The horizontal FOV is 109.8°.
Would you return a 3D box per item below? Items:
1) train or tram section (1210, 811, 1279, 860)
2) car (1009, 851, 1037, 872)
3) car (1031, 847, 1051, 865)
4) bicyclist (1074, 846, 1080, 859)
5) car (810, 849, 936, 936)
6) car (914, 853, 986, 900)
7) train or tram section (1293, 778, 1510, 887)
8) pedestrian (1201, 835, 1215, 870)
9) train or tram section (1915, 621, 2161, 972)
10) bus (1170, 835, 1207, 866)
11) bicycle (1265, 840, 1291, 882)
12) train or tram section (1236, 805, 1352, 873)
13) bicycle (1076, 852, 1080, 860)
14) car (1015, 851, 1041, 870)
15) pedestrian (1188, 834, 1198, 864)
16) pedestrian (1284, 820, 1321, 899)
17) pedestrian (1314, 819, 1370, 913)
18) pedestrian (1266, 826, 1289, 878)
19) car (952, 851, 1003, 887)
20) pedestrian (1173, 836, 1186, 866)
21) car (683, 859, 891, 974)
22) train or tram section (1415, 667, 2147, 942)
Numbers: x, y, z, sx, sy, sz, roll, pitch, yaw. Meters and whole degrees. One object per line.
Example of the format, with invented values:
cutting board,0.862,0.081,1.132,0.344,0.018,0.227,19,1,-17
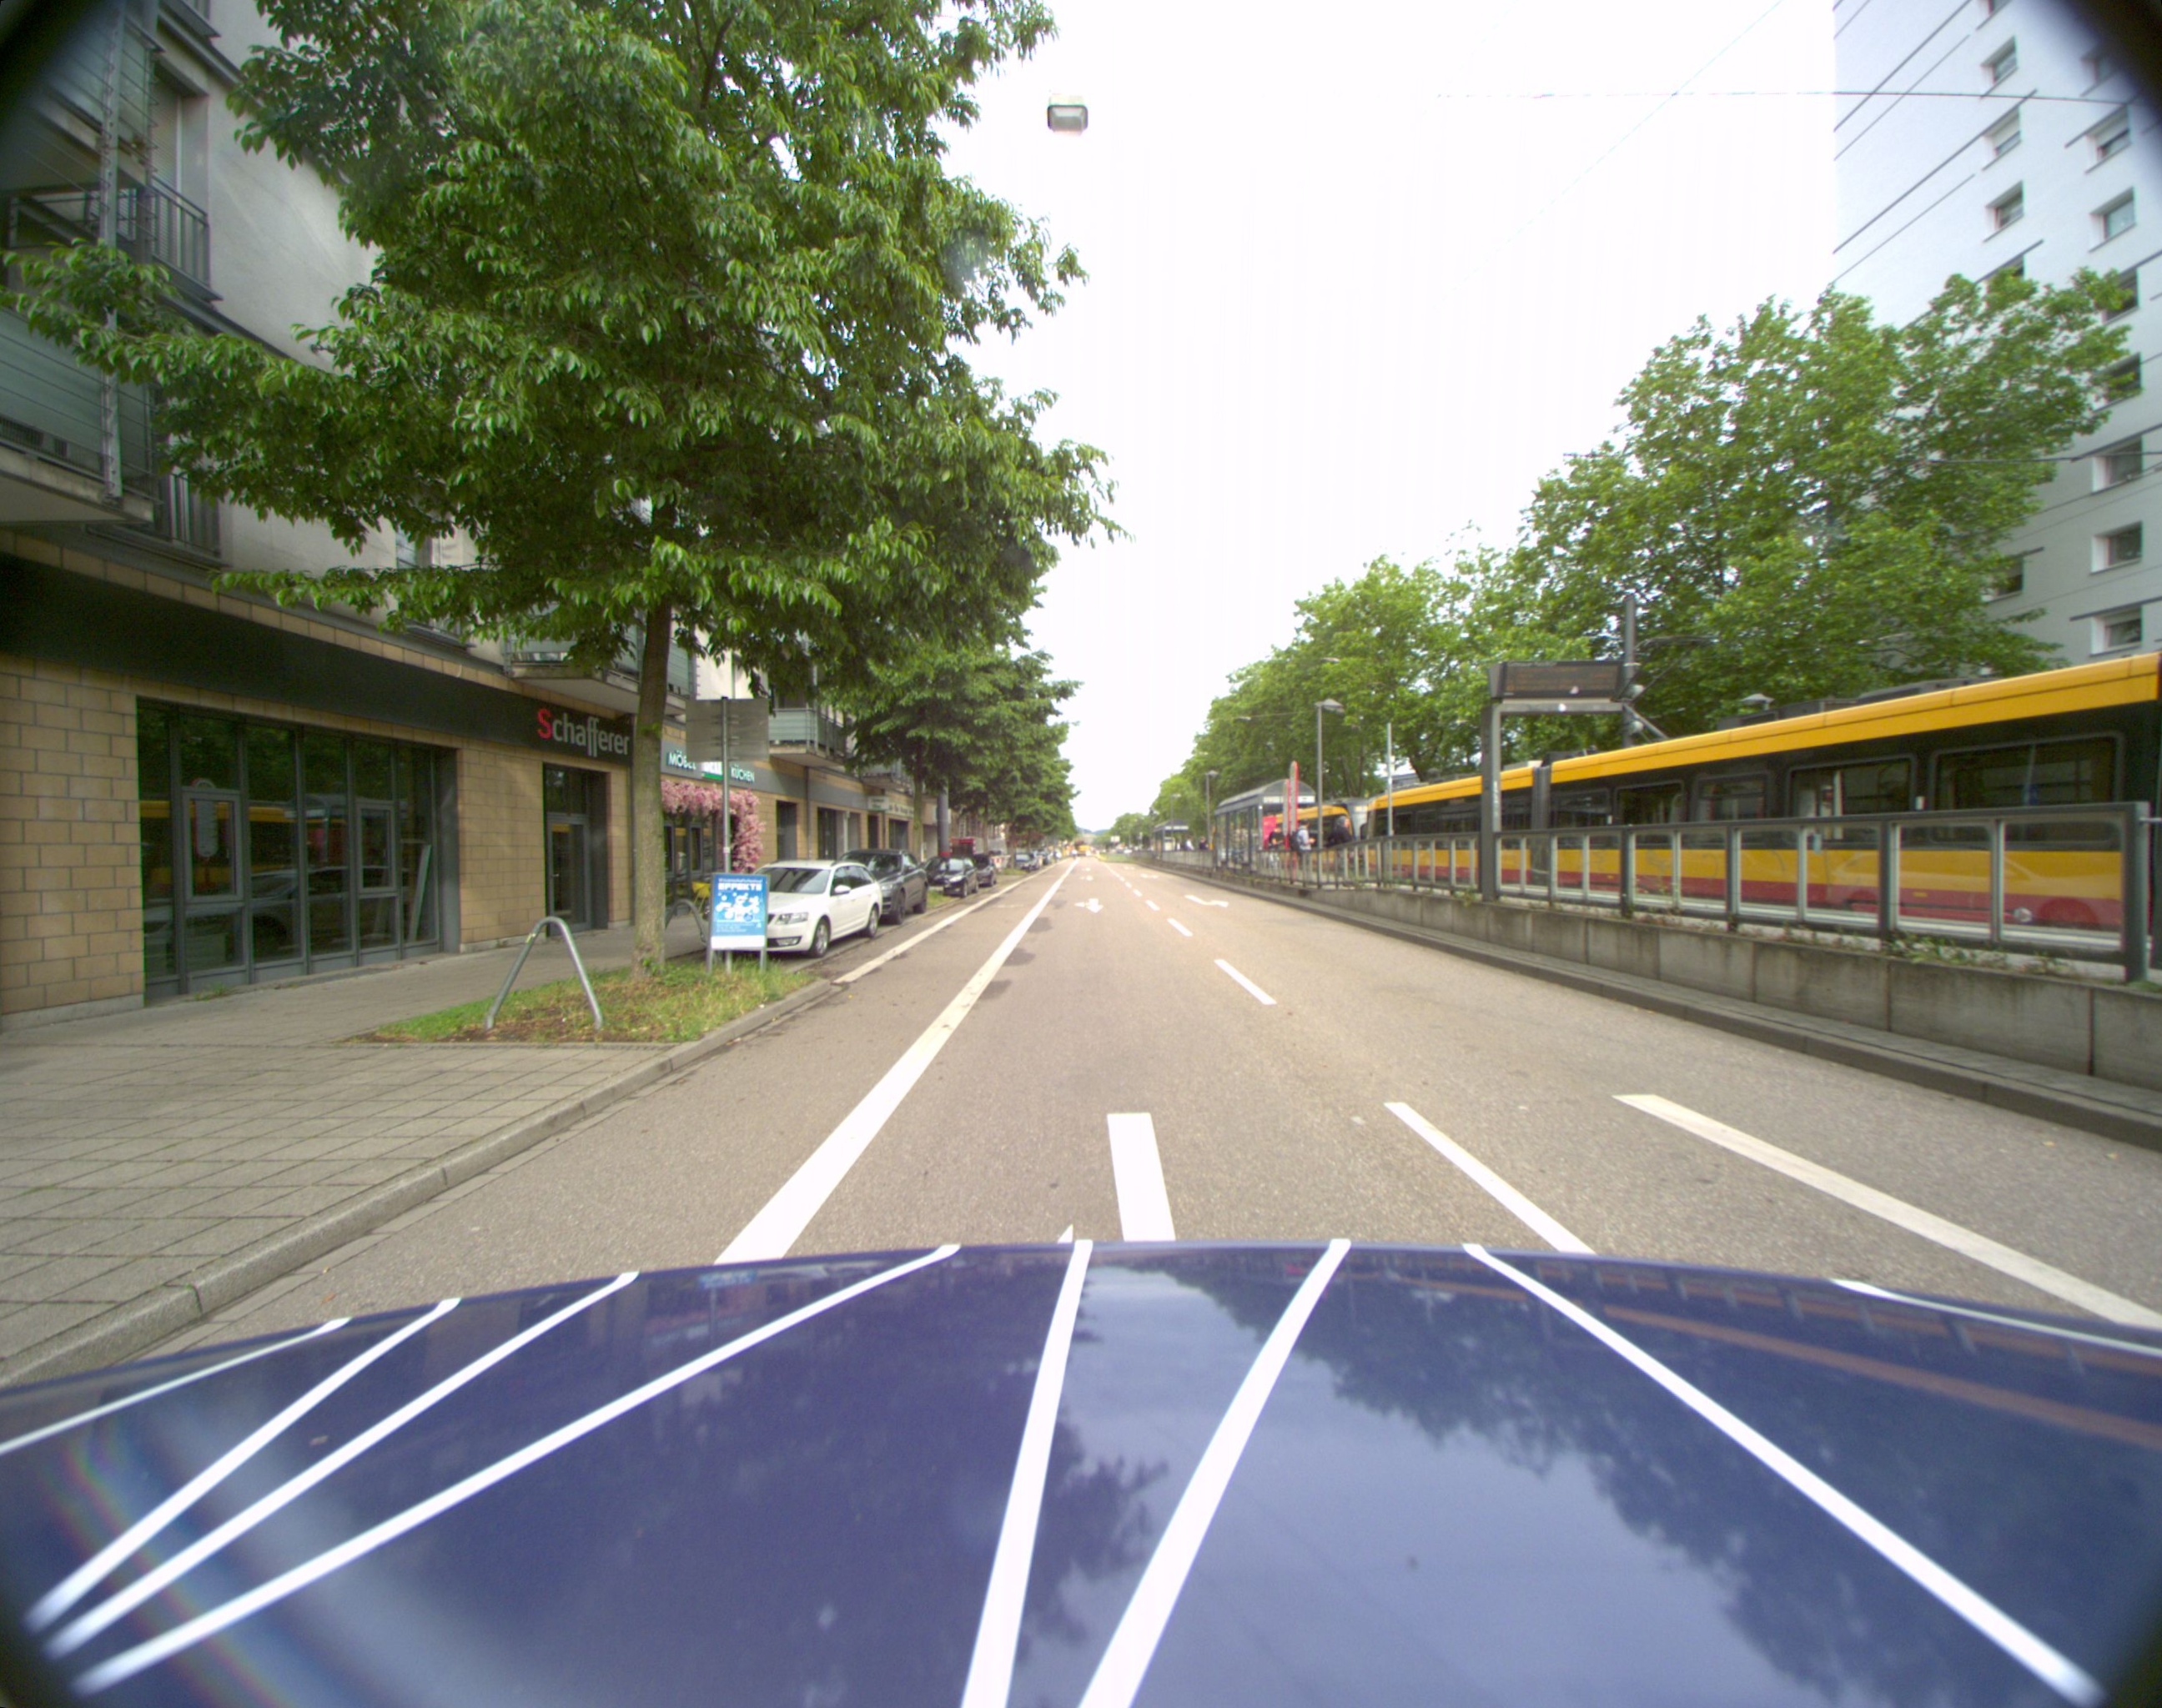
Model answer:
train or tram section,13.219,-1.445,62.681,3.100,3.541,12.537,-2,1,1
car,-4.278,0.520,56.419,1.755,1.452,4.279,1,1,0
car,-4.076,0.179,78.723,1.837,1.720,4.279,1,1,0
bicyclist,-0.600,-0.228,113.959,0.751,1.777,0.838,-2,1,1
car,-4.735,0.772,18.022,1.716,1.707,4.710,2,1,-1
car,-4.605,0.751,27.274,1.680,1.433,4.407,2,1,2
train or tram section,12.837,-0.832,33.009,3.067,3.511,15.292,-2,1,1
pedestrian,6.085,-0.084,36.525,0.513,1.623,0.730,-2,1,2
train or tram section,12.452,-0.549,2.077,3.067,3.568,15.846,-2,1,1
bus,7.518,-0.241,53.258,1.998,2.002,3.999,-2,1,1
bicycle,5.971,0.195,23.117,0.420,1.215,1.289,-2,1,0
train or tram section,13.019,-0.936,48.533,3.067,3.511,15.769,-2,1,1
bicycle,-0.451,0.253,113.895,0.613,1.116,2.050,-2,1,1
car,-4.328,0.472,62.455,1.755,1.452,4.279,1,1,0
pedestrian,6.077,-0.262,41.225,0.480,1.623,0.392,-2,1,2
pedestrian,5.718,0.133,19.628,0.753,2.002,0.819,-2,2,24
pedestrian,5.737,0.245,16.719,0.756,2.002,0.816,-3,2,-36
pedestrian,6.238,-0.055,24.117,0.532,1.623,0.471,-2,1,-2
car,-4.682,0.647,34.966,1.802,1.447,4.387,2,1,-1
pedestrian,6.670,-0.185,51.360,0.676,2.002,0.588,-2,1,-2
car,-4.701,0.894,12.905,1.680,1.490,4.389,2,1,2
train or tram section,12.637,-0.759,17.697,3.067,3.511,15.292,-2,1,1
